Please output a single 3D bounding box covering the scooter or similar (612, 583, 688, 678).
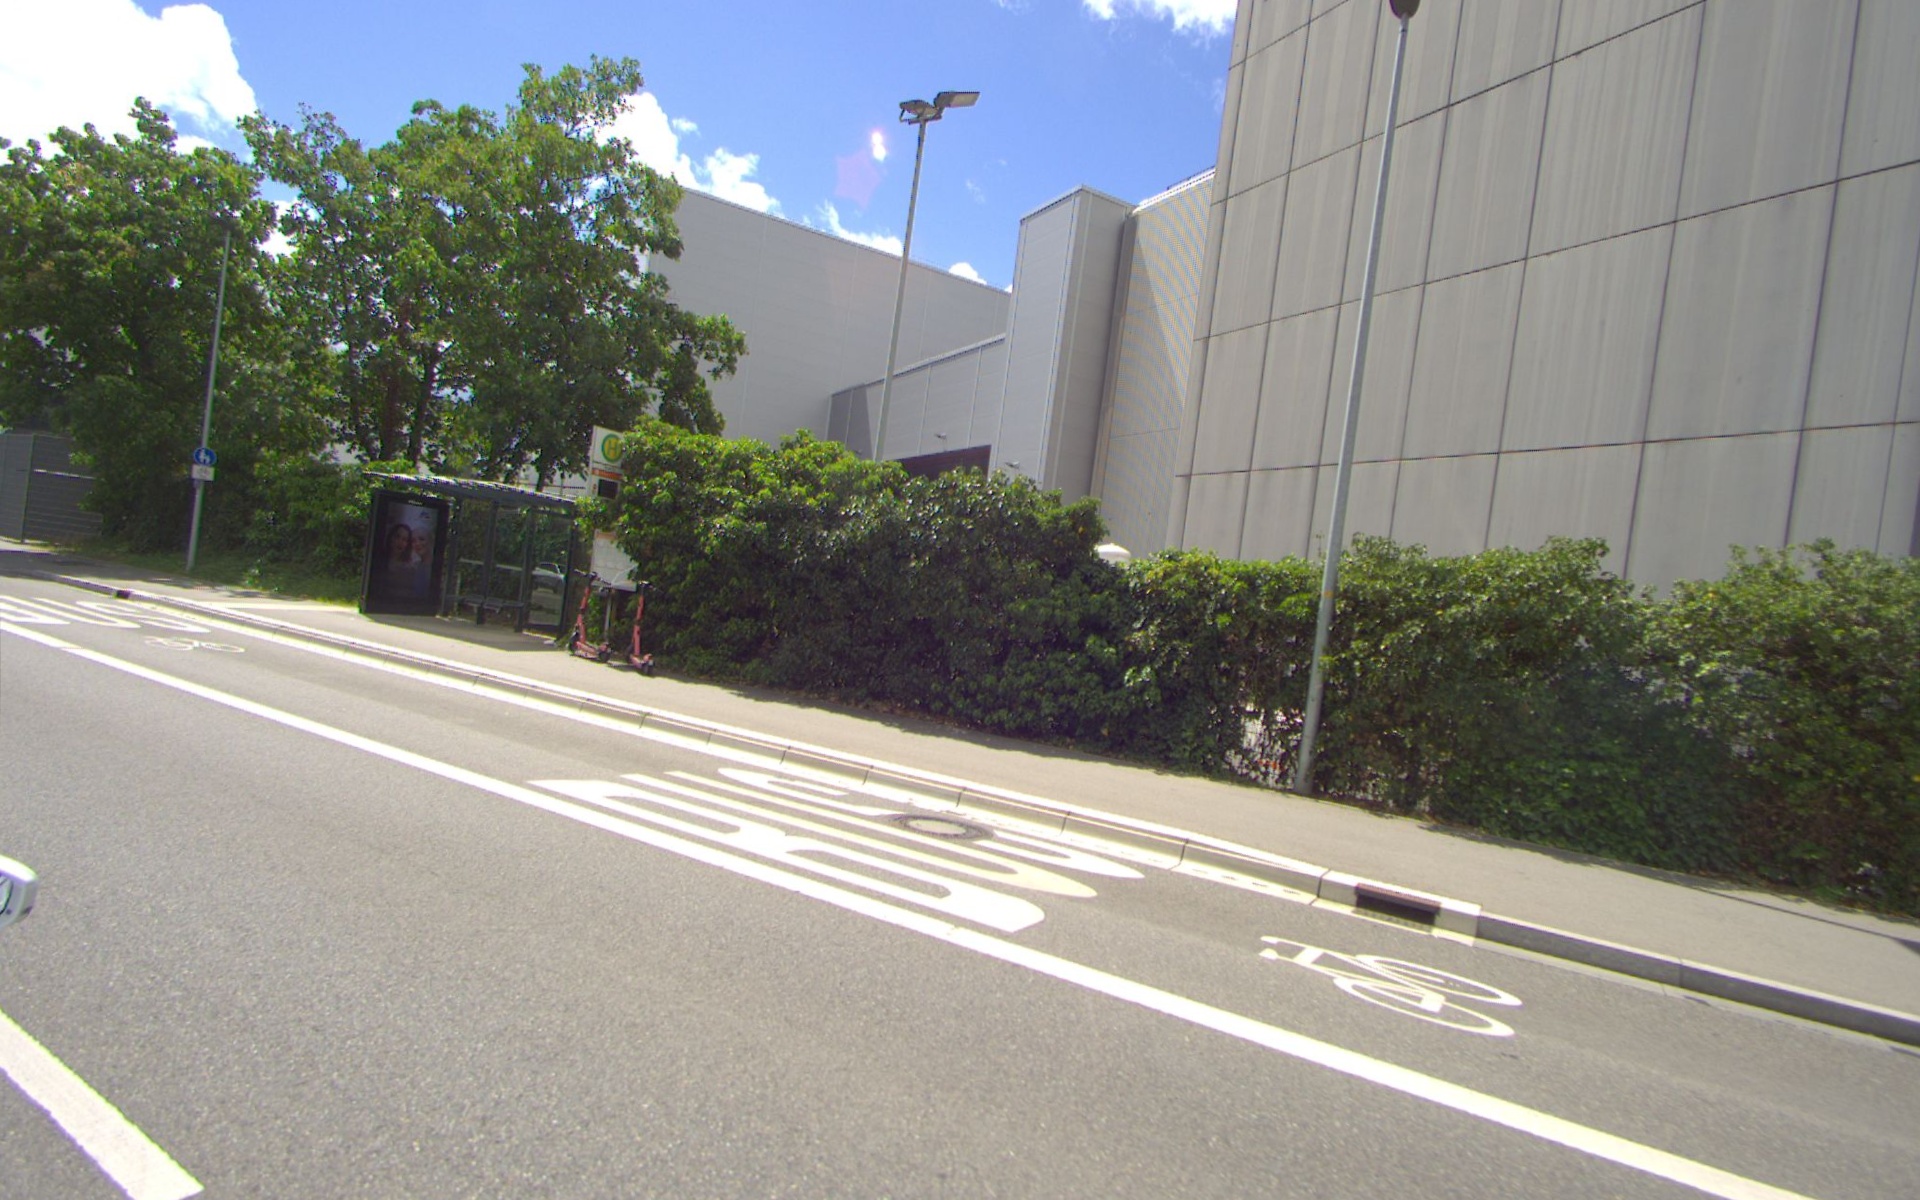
[{"bbox_3d":[-4.487,0.415,14.502,0.537,1.177,1.777,6,1,-31],"label":"scooter or similar"}]

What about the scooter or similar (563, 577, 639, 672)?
[{"bbox_3d":[-5.231,0.321,14.585,0.537,1.177,2.110,6,1,-31],"label":"scooter or similar"}]
